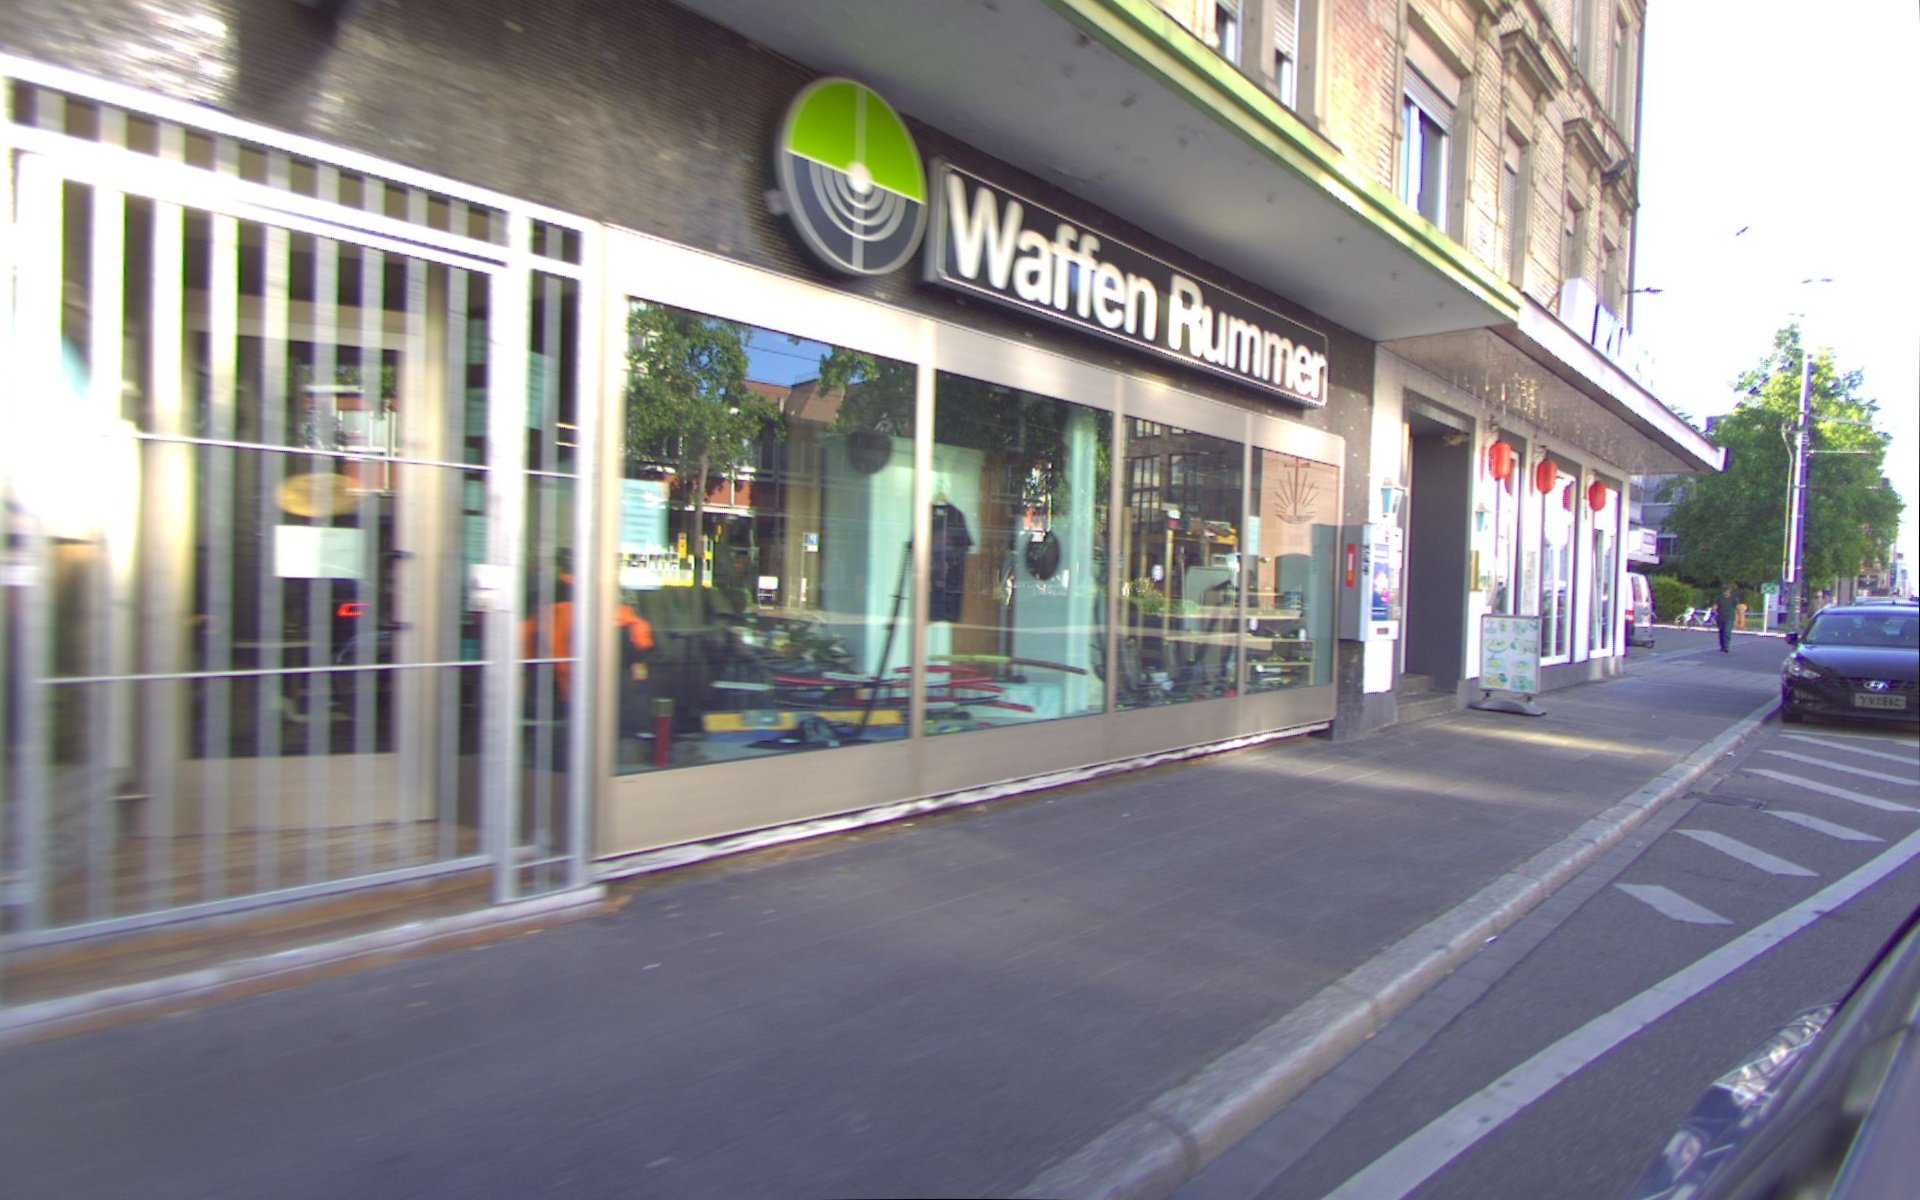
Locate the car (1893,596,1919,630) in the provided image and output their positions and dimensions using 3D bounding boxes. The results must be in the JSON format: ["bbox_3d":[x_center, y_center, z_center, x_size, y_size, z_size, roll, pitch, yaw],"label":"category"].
[{"bbox_3d":[43.665,0.562,46.067,1.728,1.502,3.804,0,0,42],"label":"car"}]

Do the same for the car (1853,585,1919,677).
[{"bbox_3d":[19.636,0.563,20.856,1.690,1.735,4.543,0,0,43],"label":"car"}]

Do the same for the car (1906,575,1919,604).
[{"bbox_3d":[71.810,-0.807,75.502,1.729,2.075,4.051,0,2,44],"label":"car"}]

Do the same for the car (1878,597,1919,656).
[{"bbox_3d":[26.829,0.695,28.242,1.698,1.501,4.160,0,1,44],"label":"car"}]

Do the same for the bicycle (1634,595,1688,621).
[{"bbox_3d":[30.316,0.325,43.777,0.563,0.977,1.804,-1,5,-45],"label":"bicycle"}]

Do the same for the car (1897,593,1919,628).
[{"bbox_3d":[47.152,0.485,49.621,1.729,1.597,4.051,0,1,44],"label":"car"}]

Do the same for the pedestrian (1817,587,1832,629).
[{"bbox_3d":[42.447,0.389,49.676,0.506,2.039,0.565,0,1,45],"label":"pedestrian"}]

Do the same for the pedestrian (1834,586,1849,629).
[{"bbox_3d":[42.883,0.365,49.219,0.506,2.039,0.565,0,1,45],"label":"pedestrian"}]

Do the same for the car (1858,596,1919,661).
[{"bbox_3d":[23.270,0.646,24.819,1.714,1.473,3.718,0,0,44],"label":"car"}]

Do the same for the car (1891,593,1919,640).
[{"bbox_3d":[34.590,0.543,36.264,1.729,1.501,4.852,0,2,44],"label":"car"}]

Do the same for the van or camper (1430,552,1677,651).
[{"bbox_3d":[14.314,-0.047,24.643,1.965,1.956,4.703,1,4,-41],"label":"van or camper"}]

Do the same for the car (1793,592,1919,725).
[{"bbox_3d":[11.943,0.647,12.936,1.690,1.469,4.290,0,0,44],"label":"car"}]

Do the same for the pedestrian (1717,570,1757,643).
[{"bbox_3d":[21.101,0.155,27.479,1.045,1.935,0.685,-1,1,-43],"label":"pedestrian"}]
